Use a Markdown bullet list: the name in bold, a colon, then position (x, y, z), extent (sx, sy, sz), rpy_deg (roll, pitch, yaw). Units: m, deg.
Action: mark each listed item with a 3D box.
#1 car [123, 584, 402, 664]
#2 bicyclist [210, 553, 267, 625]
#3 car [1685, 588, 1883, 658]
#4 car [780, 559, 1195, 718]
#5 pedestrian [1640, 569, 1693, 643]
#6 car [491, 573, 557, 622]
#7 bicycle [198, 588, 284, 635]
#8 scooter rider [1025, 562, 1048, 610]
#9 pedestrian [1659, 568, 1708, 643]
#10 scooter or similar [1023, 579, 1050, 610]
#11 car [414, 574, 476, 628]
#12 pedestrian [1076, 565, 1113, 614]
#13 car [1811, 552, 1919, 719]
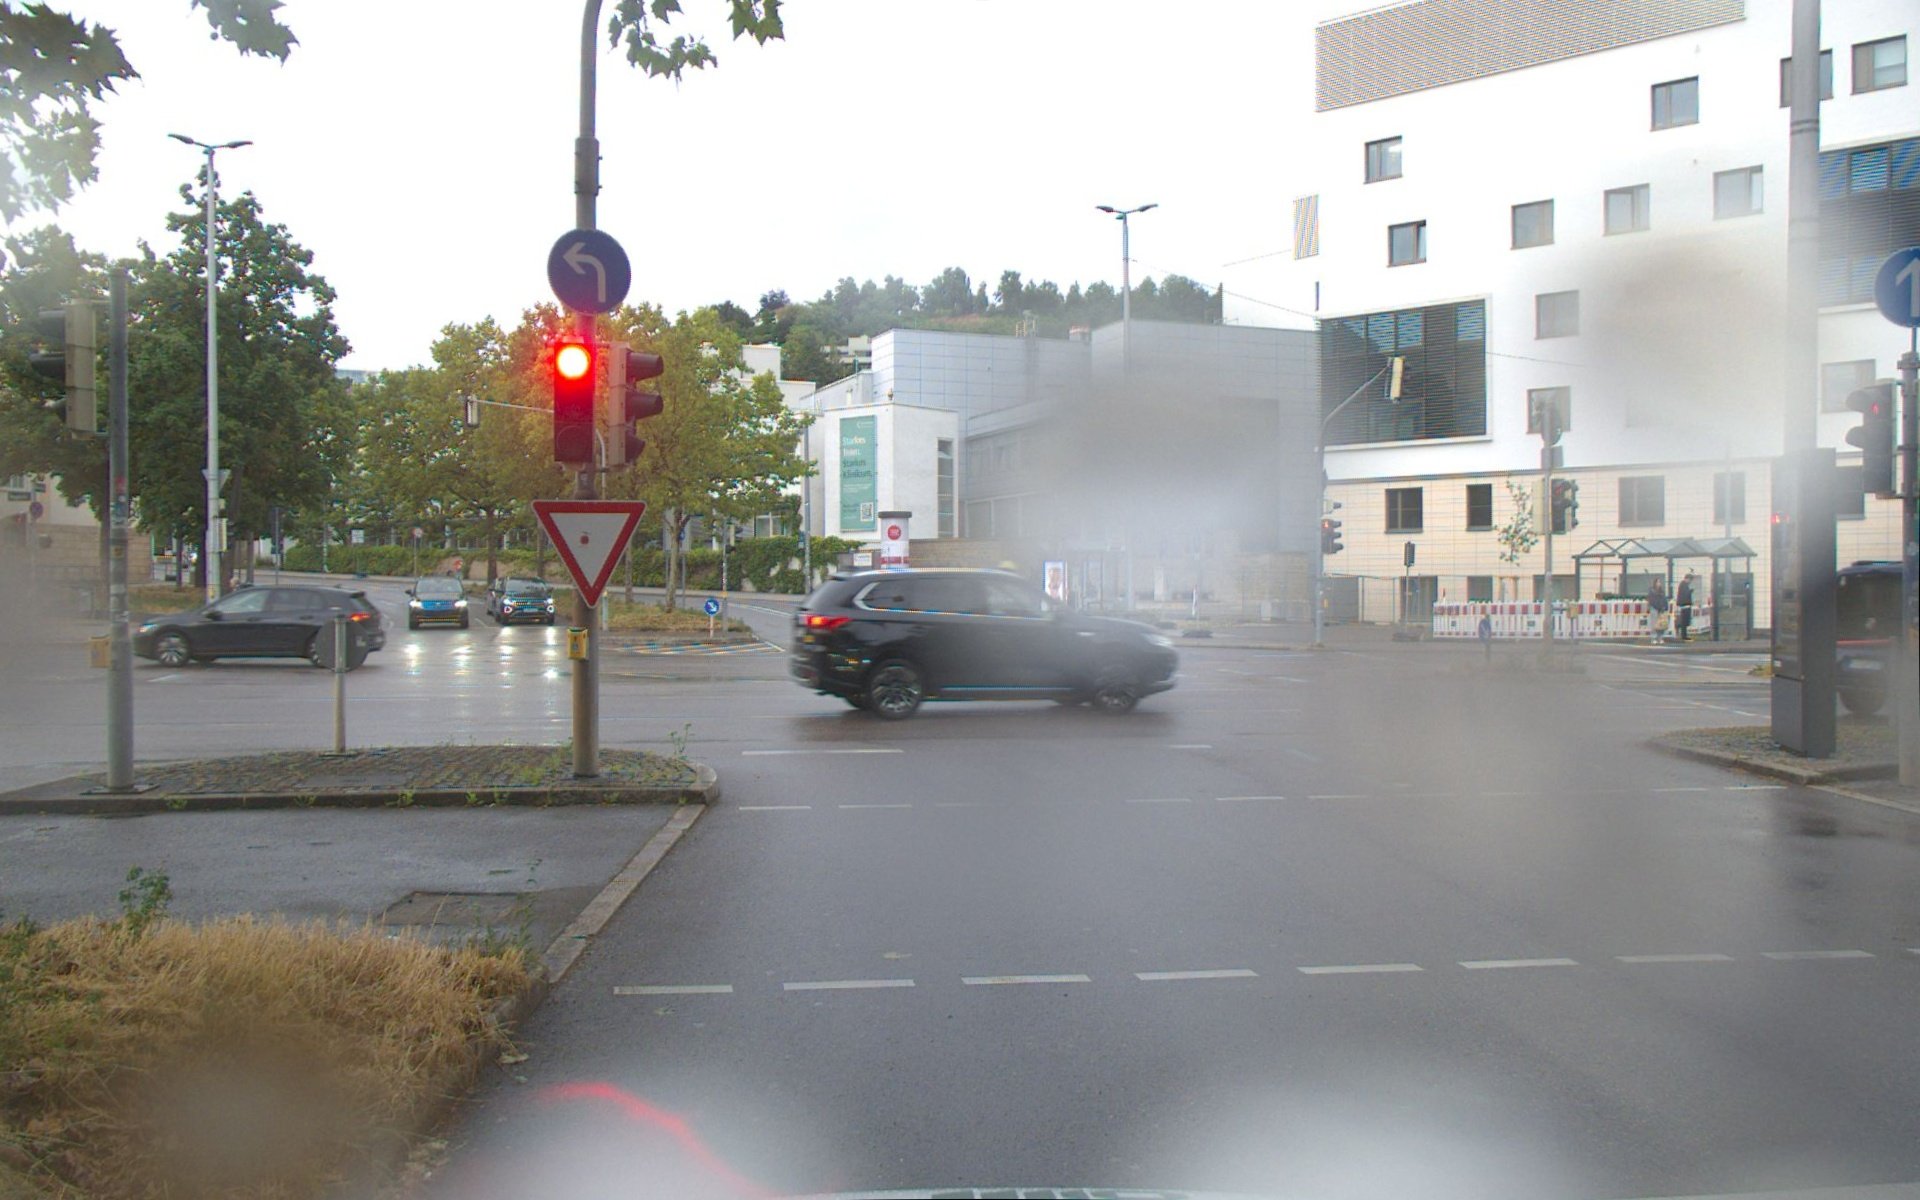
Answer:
- **car**: position (-12.626, 0.420, 30.183), extent (4.291, 1.402, 1.997), rpy_deg (0, 1, -8)
- **bicyclist**: position (-16.944, -0.254, 38.870), extent (1.107, 1.661, 0.698), rpy_deg (2, -1, -18)
- **car**: position (19.076, 0.526, 38.317), extent (3.921, 1.469, 1.790), rpy_deg (2, 0, -16)
- **car**: position (0.288, 0.400, 19.482), extent (4.595, 1.735, 1.791), rpy_deg (0, 1, -15)
- **pedestrian**: position (18.115, 0.156, 42.447), extent (0.934, 1.872, 0.821), rpy_deg (2, -1, -12)
- **car**: position (-15.184, -0.126, 57.475), extent (1.764, 1.612, 3.973), rpy_deg (0, 1, -22)
- **bicycle**: position (-16.883, 0.280, 38.875), extent (1.787, 1.075, 0.644), rpy_deg (1, -1, -18)
- **scooter rider**: position (3.130, -0.567, 67.736), extent (0.713, 1.916, 0.628), rpy_deg (2, -1, -21)
- **pedestrian**: position (19.539, 0.157, 44.661), extent (0.980, 1.969, 0.955), rpy_deg (1, -1, 9)
- **scooter or similar**: position (3.117, -0.217, 67.723), extent (0.582, 1.260, 1.305), rpy_deg (2, -1, -22)
- **car**: position (-16.664, 0.003, 53.504), extent (1.839, 1.591, 4.255), rpy_deg (-1, 2, -18)
- **pedestrian**: position (5.004, -0.388, 61.609), extent (1.232, 1.749, 1.016), rpy_deg (1, -1, -2)
- **car**: position (12.966, 0.394, 20.467), extent (4.223, 1.941, 1.791), rpy_deg (0, 1, -14)
